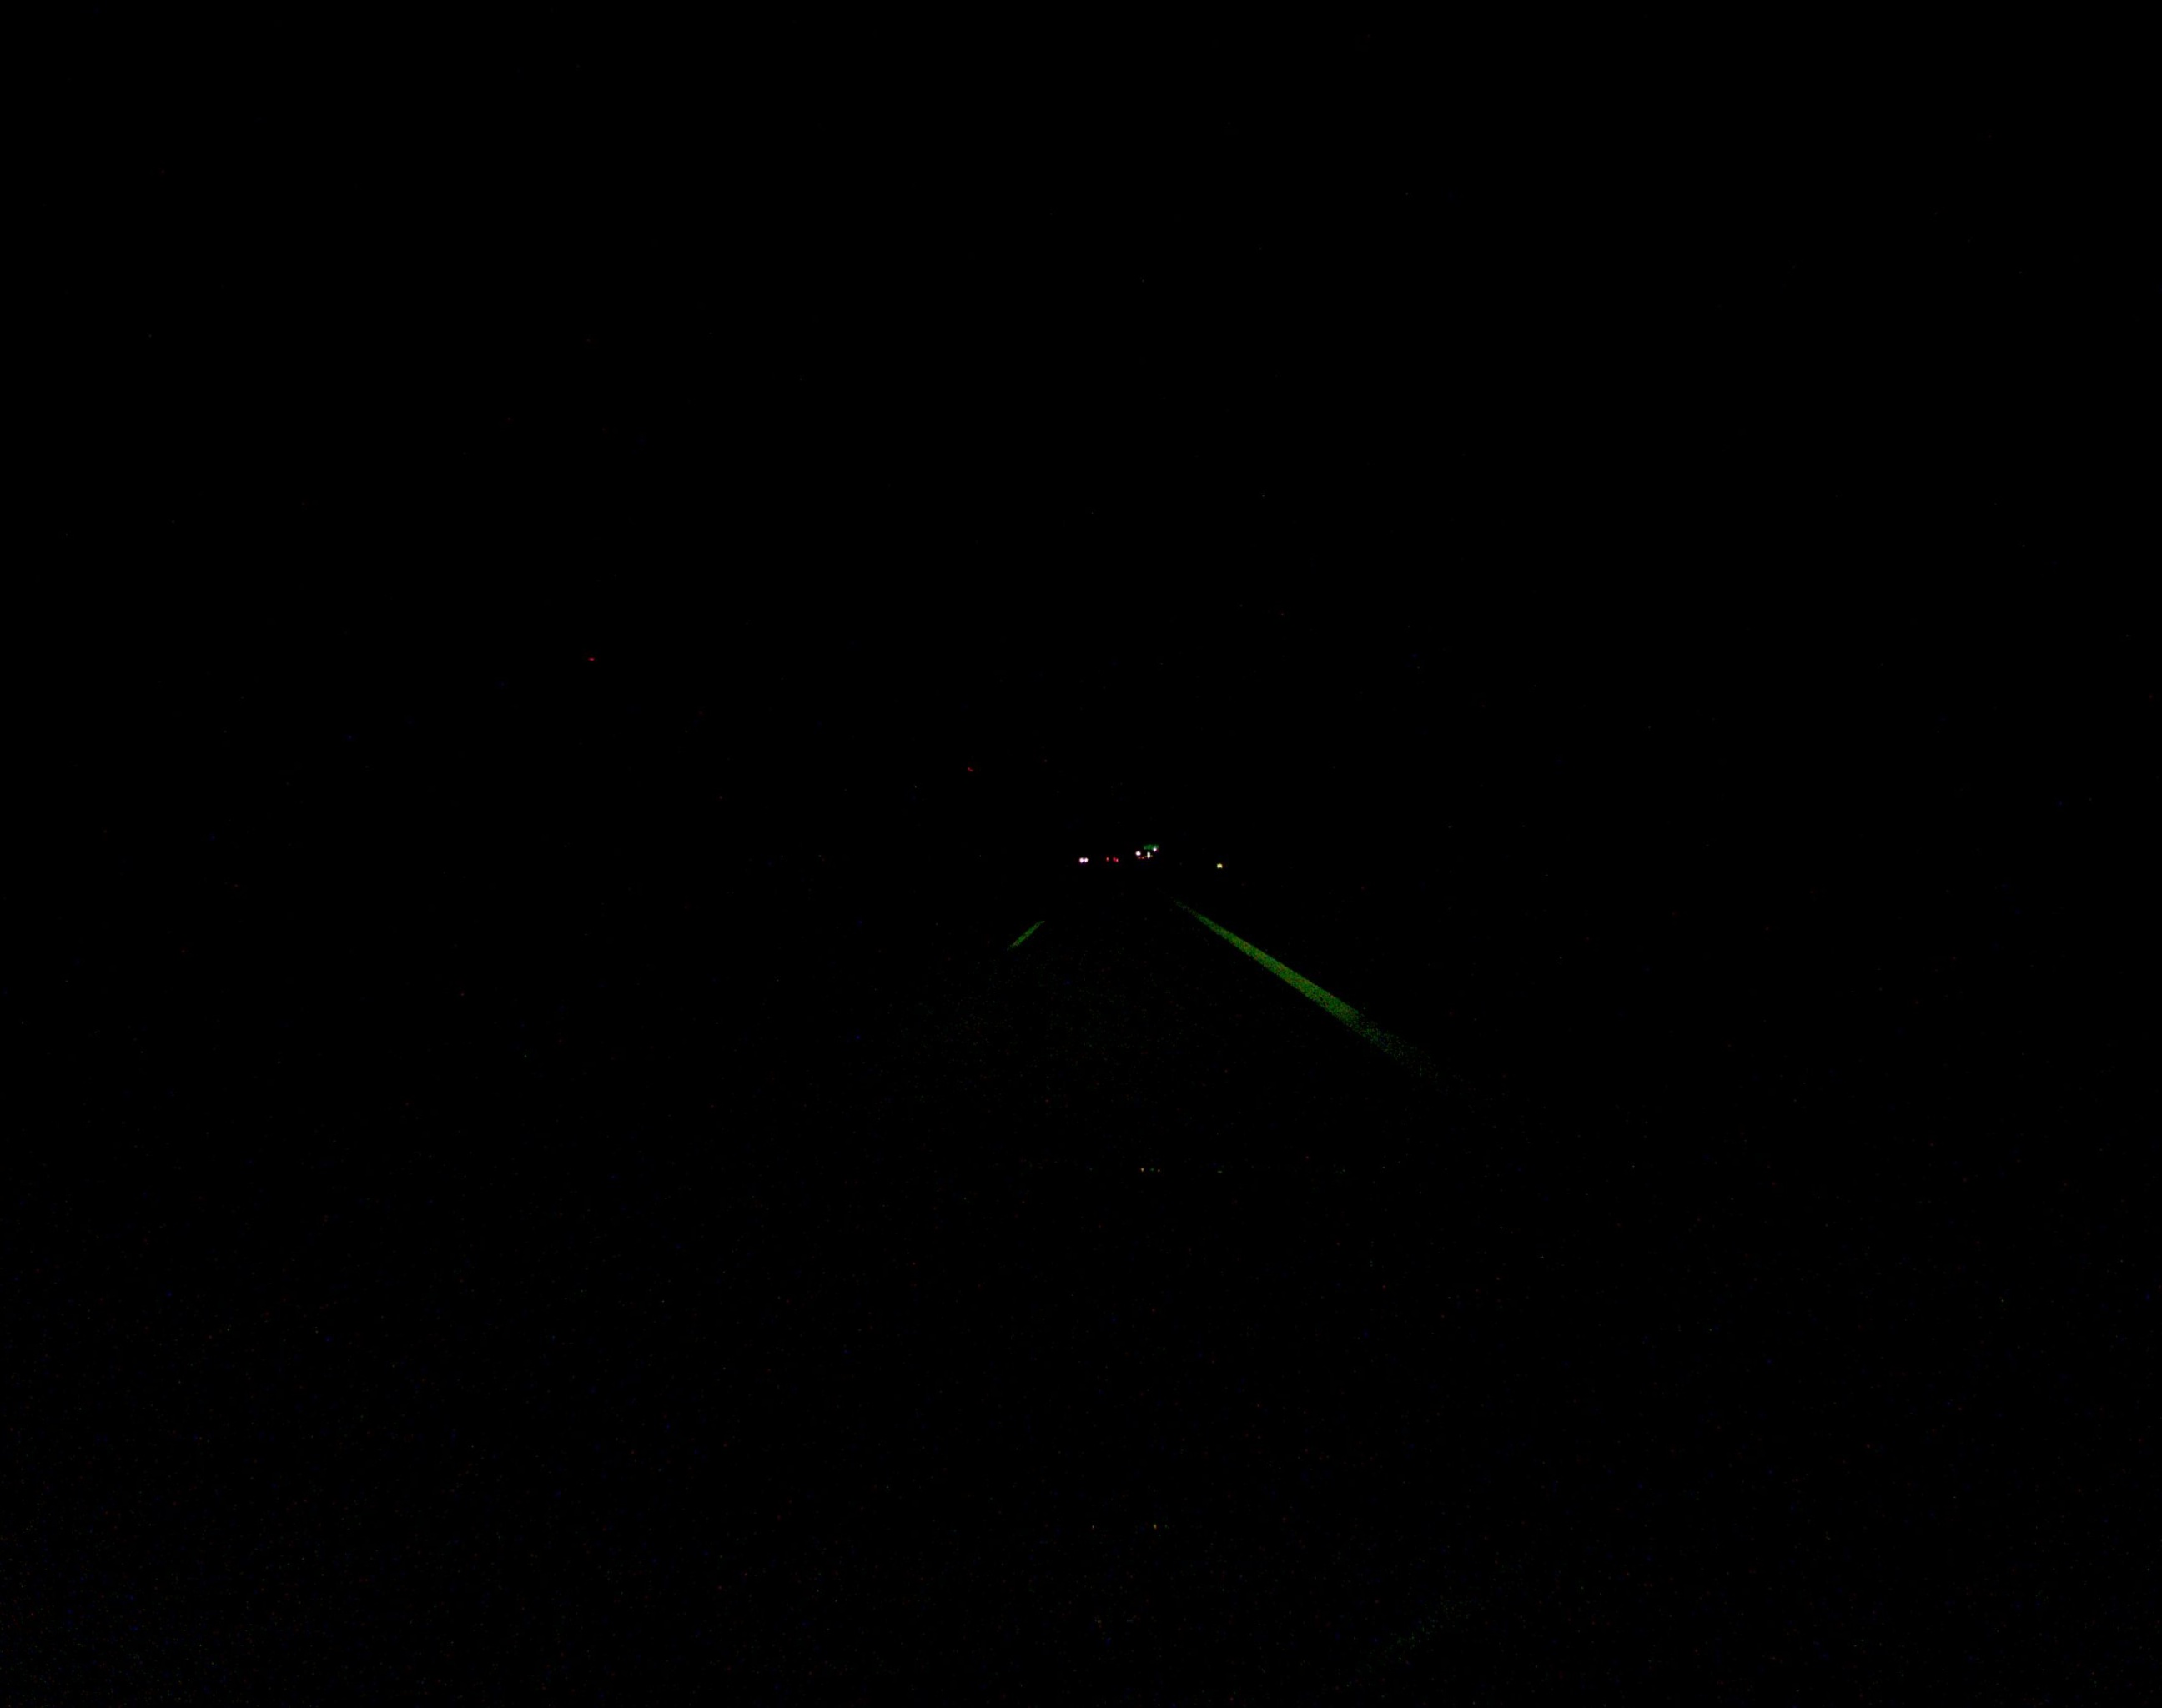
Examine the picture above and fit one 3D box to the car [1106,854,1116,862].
[{"bbox_3d":[7.977,1.081,217.623,2.499,2.314,4.977,-1,-1,5],"label":"car"}]
